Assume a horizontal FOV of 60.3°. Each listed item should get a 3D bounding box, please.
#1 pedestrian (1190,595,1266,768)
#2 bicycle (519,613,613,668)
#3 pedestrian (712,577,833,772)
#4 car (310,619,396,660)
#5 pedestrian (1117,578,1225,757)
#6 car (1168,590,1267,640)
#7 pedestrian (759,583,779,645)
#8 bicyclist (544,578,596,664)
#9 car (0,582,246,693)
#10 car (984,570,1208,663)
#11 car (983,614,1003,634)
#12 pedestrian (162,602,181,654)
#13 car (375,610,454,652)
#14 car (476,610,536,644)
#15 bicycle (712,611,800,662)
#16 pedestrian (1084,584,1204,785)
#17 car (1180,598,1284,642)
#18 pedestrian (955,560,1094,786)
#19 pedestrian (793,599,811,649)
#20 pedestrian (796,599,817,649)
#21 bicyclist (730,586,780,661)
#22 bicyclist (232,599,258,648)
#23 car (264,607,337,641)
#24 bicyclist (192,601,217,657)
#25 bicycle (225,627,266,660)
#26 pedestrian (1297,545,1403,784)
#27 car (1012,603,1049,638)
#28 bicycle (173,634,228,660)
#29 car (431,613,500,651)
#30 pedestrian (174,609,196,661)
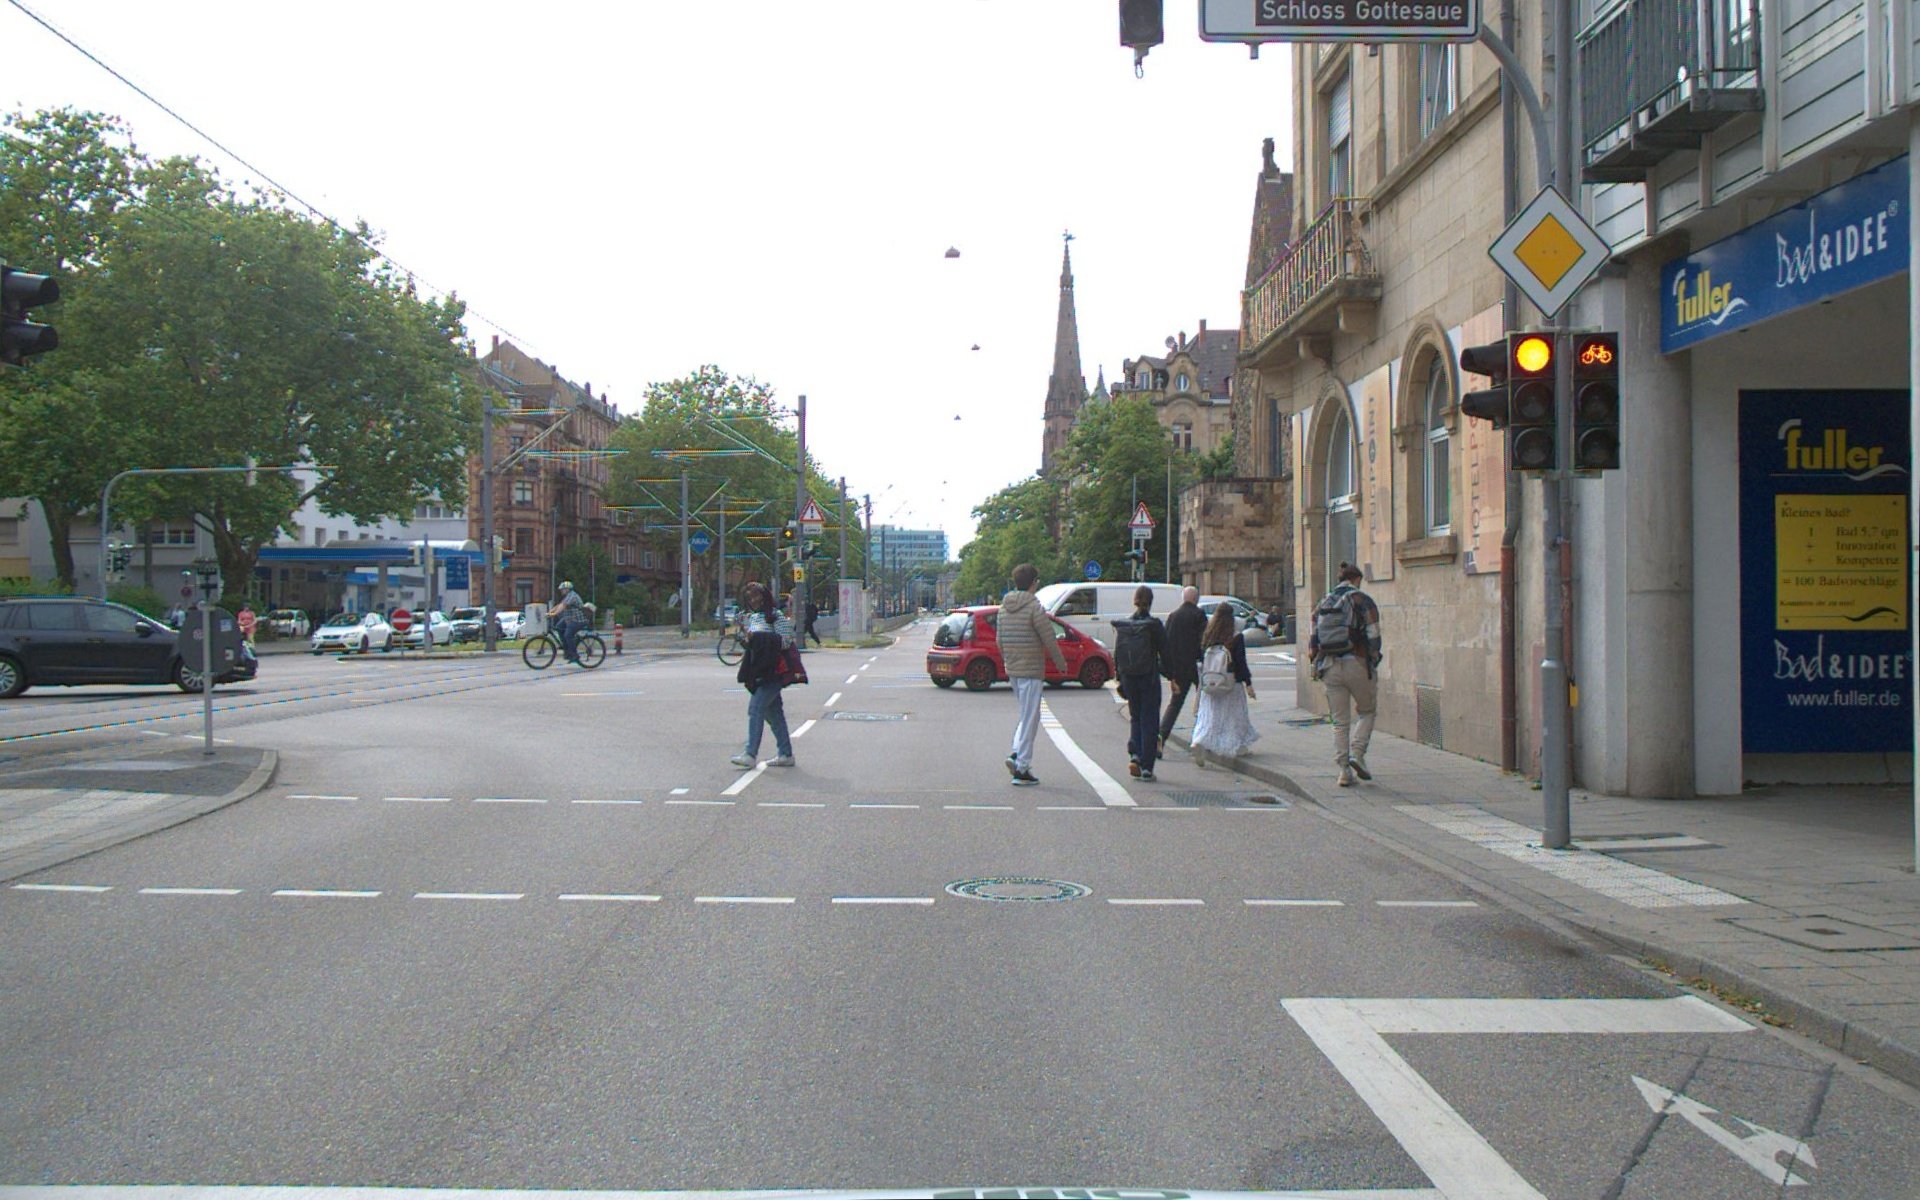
[{"bbox_3d":[2.605,0.777,16.147,0.685,1.621,0.831,1,-1,7],"label":"pedestrian"},{"bbox_3d":[-8.537,0.882,35.880,1.880,1.162,0.622,1,-1,-30],"label":"bicycle"},{"bbox_3d":[-1.702,0.659,15.083,0.659,1.709,0.864,0,-1,38],"label":"pedestrian"},{"bbox_3d":[-21.429,1.374,58.512,1.601,1.349,3.999,1,0,-1],"label":"car"},{"bbox_3d":[2.206,0.686,17.272,0.900,1.815,0.645,0,-1,37],"label":"pedestrian"},{"bbox_3d":[10.638,0.623,68.490,3.721,1.937,2.000,1,-1,-1],"label":"car"},{"bbox_3d":[-5.717,0.418,49.484,0.562,1.826,0.518,1,-1,-5],"label":"pedestrian"},{"bbox_3d":[-8.468,0.458,35.918,0.955,1.851,0.527,1,-1,-30],"label":"bicyclist"},{"bbox_3d":[-13.419,0.573,25.582,4.274,1.614,1.796,1,-1,-27],"label":"car"},{"bbox_3d":[3.116,0.395,37.746,4.805,2.001,1.972,1,-1,-27],"label":"car"},{"bbox_3d":[3.450,2.505,172.480,1.953,2.049,3.999,1,-1,-1],"label":"car"},{"bbox_3d":[-27.855,0.997,58.419,0.367,1.815,0.448,1,-1,32],"label":"pedestrian"},{"bbox_3d":[-21.385,1.202,65.022,1.856,1.585,3.835,1,-1,-1],"label":"car"},{"bbox_3d":[-21.602,1.267,78.828,1.856,1.585,3.835,1,-1,-1],"label":"car"},{"bbox_3d":[-4.730,0.850,38.329,1.910,1.155,0.731,1,-1,-22],"label":"bicycle"},{"bbox_3d":[1.624,0.717,14.497,0.616,1.681,0.993,0,-1,36],"label":"pedestrian"},{"bbox_3d":[10.684,0.791,65.079,3.721,1.629,2.000,1,-1,-1],"label":"car"},{"bbox_3d":[0.539,0.605,13.949,0.998,1.845,0.580,1,-1,-24],"label":"pedestrian"},{"bbox_3d":[-4.996,0.755,52.242,0.535,1.564,0.465,1,-1,-5],"label":"pedestrian"},{"bbox_3d":[-4.792,0.750,51.658,0.640,1.564,0.465,1,-1,-5],"label":"pedestrian"},{"bbox_3d":[-4.755,0.549,38.357,1.023,1.713,0.641,1,-1,-21],"label":"bicyclist"},{"bbox_3d":[-23.710,0.786,54.848,0.576,1.595,0.618,1,-1,-1],"label":"bicyclist"},{"bbox_3d":[-31.855,1.160,80.000,1.953,1.557,3.999,1,-1,-1],"label":"car"},{"bbox_3d":[-24.721,0.954,54.132,0.522,1.815,0.470,1,-1,19],"label":"bicyclist"},{"bbox_3d":[-23.554,1.434,54.523,0.511,1.035,1.936,1,-1,-1],"label":"bicycle"},{"bbox_3d":[3.134,0.498,13.228,0.614,1.810,1.133,0,-1,25],"label":"pedestrian"},{"bbox_3d":[4.215,1.246,99.737,1.953,2.049,3.999,1,-1,-1],"label":"car"},{"bbox_3d":[-24.874,1.537,54.163,1.645,0.786,0.656,1,-1,20],"label":"bicycle"},{"bbox_3d":[-21.488,1.385,72.028,1.856,1.585,3.835,1,-1,-1],"label":"car"},{"bbox_3d":[-27.397,1.245,58.450,0.367,1.815,0.551,1,-1,25],"label":"pedestrian"}]
